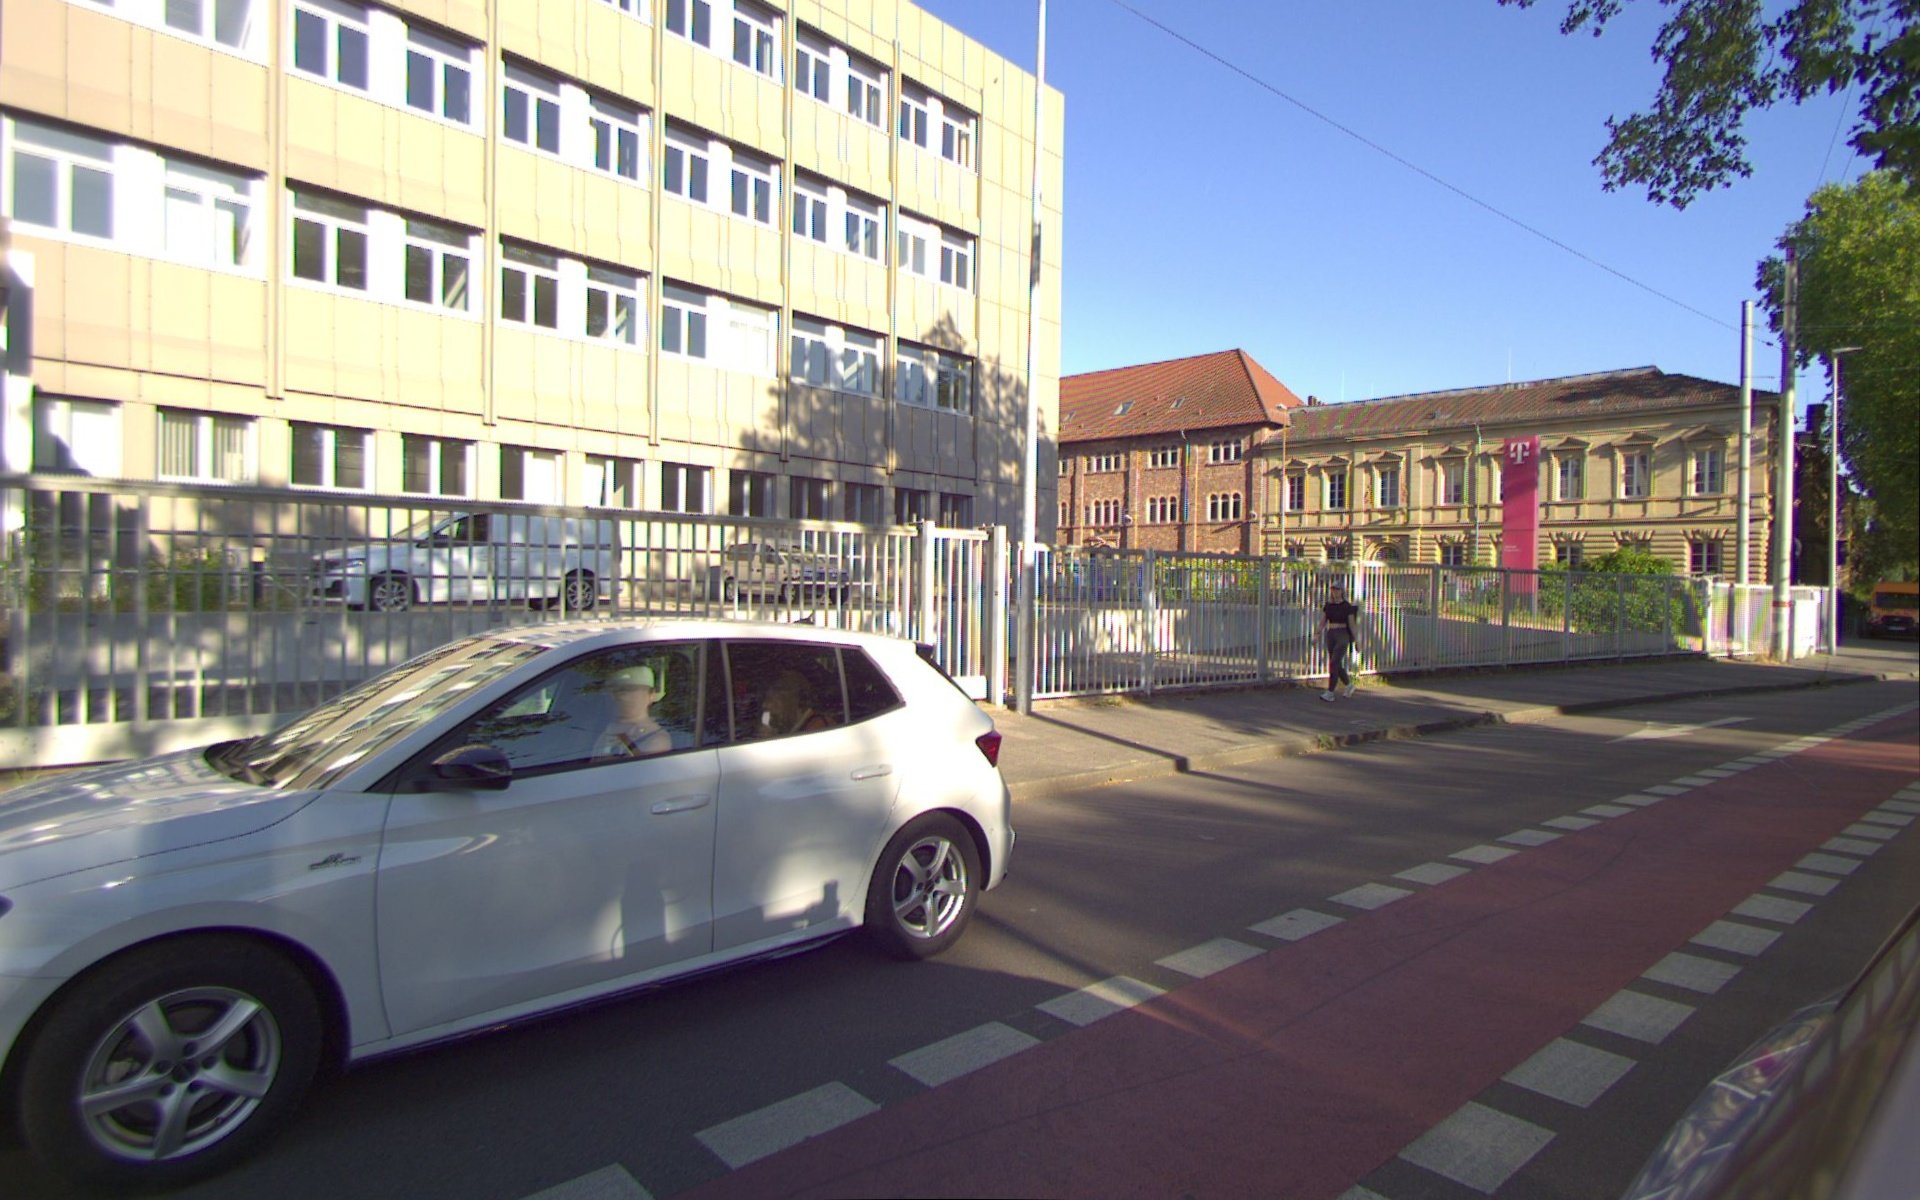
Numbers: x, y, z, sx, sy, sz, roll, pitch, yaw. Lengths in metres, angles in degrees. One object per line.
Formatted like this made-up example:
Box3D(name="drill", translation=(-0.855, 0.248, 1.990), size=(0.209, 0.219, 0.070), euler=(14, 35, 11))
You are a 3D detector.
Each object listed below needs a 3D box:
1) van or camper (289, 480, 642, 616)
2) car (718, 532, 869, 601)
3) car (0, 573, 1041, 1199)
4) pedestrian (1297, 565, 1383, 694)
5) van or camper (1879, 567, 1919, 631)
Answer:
Box3D(name="van or camper", translation=(-8.067, -0.778, 16.888), size=(1.981, 1.932, 4.921), euler=(3, 2, 43))
Box3D(name="car", translation=(-4.628, -0.919, 27.734), size=(4.253, 1.739, 1.962), euler=(2, 2, 44))
Box3D(name="car", translation=(-1.669, 0.686, 3.957), size=(3.914, 1.520, 1.804), euler=(0, 0, -43))
Box3D(name="pedestrian", translation=(5.256, 0.385, 14.003), size=(0.913, 1.705, 0.698), euler=(0, 1, -36))
Box3D(name="van or camper", translation=(40.679, -0.053, 43.018), size=(5.678, 2.591, 2.037), euler=(0, 1, -44))
